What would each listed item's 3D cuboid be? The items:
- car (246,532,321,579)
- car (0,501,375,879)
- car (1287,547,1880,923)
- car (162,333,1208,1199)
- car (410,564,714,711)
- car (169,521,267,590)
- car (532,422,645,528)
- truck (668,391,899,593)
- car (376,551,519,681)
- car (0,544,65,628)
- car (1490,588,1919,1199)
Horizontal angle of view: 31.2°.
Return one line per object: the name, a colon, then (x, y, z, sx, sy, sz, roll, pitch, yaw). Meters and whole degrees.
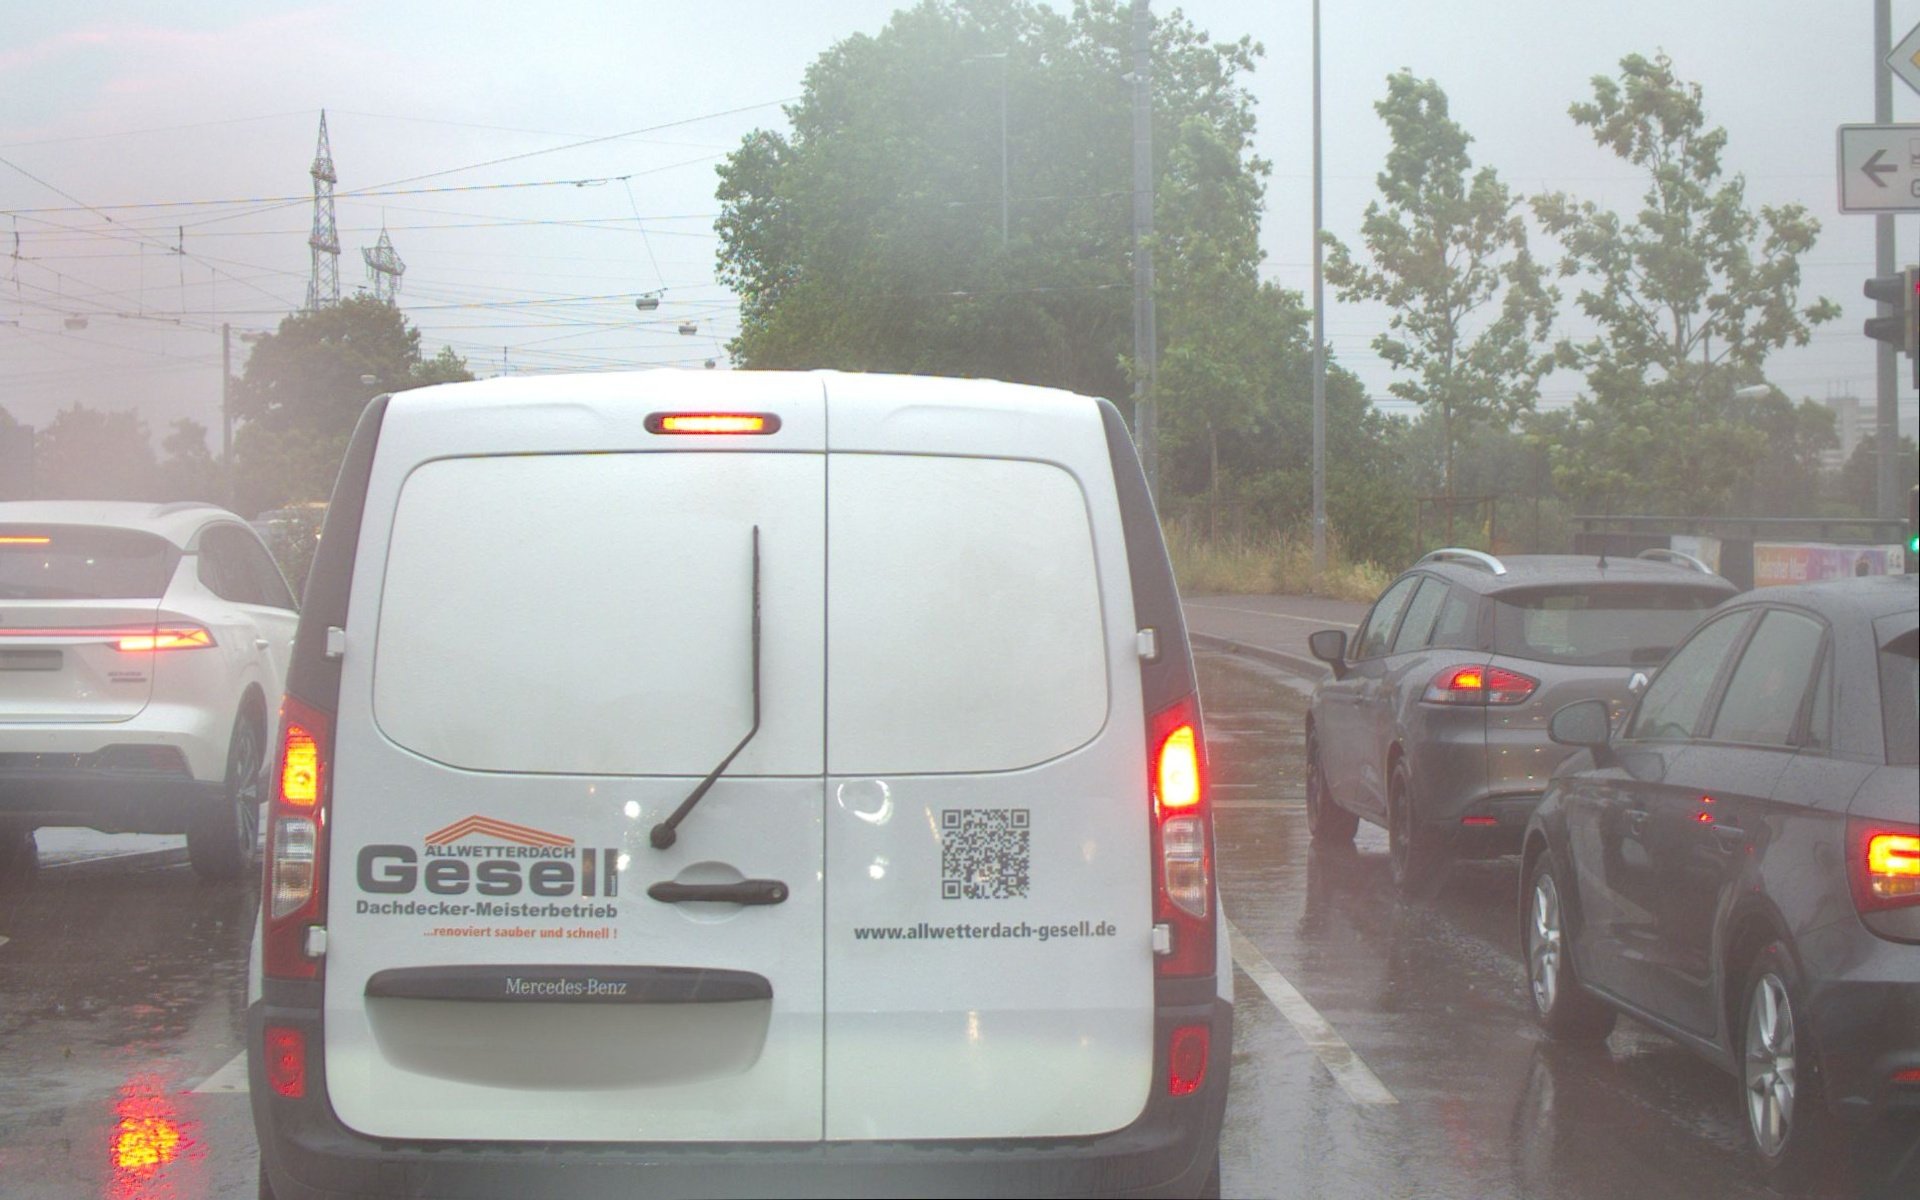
car: (-22.990, -1.498, 116.920, 1.763, 1.544, 3.680, 1, 1, 1)
car: (-3.936, 0.310, 16.182, 1.728, 1.530, 4.298, 1, 1, -2)
car: (2.649, 0.507, 15.497, 1.859, 1.424, 3.808, 1, 1, -2)
car: (-0.436, 0.467, 7.175, 1.566, 1.782, 4.000, 0, 1, -1)
car: (-4.711, 0.419, 41.278, 1.617, 1.654, 4.074, 1, 1, 27)
car: (-22.357, -1.345, 103.691, 1.993, 2.007, 4.000, 1, 1, 1)
car: (-7.836, -2.616, 72.841, 1.993, 1.853, 4.000, -8, 0, -4)
truck: (-2.542, -1.545, 51.715, 2.633, 2.806, 7.144, 1, 1, 4)
car: (-7.647, 0.211, 51.619, 1.993, 1.853, 4.001, 1, 1, -7)
car: (-21.662, -0.340, 76.971, 1.929, 1.820, 3.999, 1, 1, 4)
car: (2.529, 0.664, 8.938, 1.629, 1.340, 3.624, 1, 1, -2)
